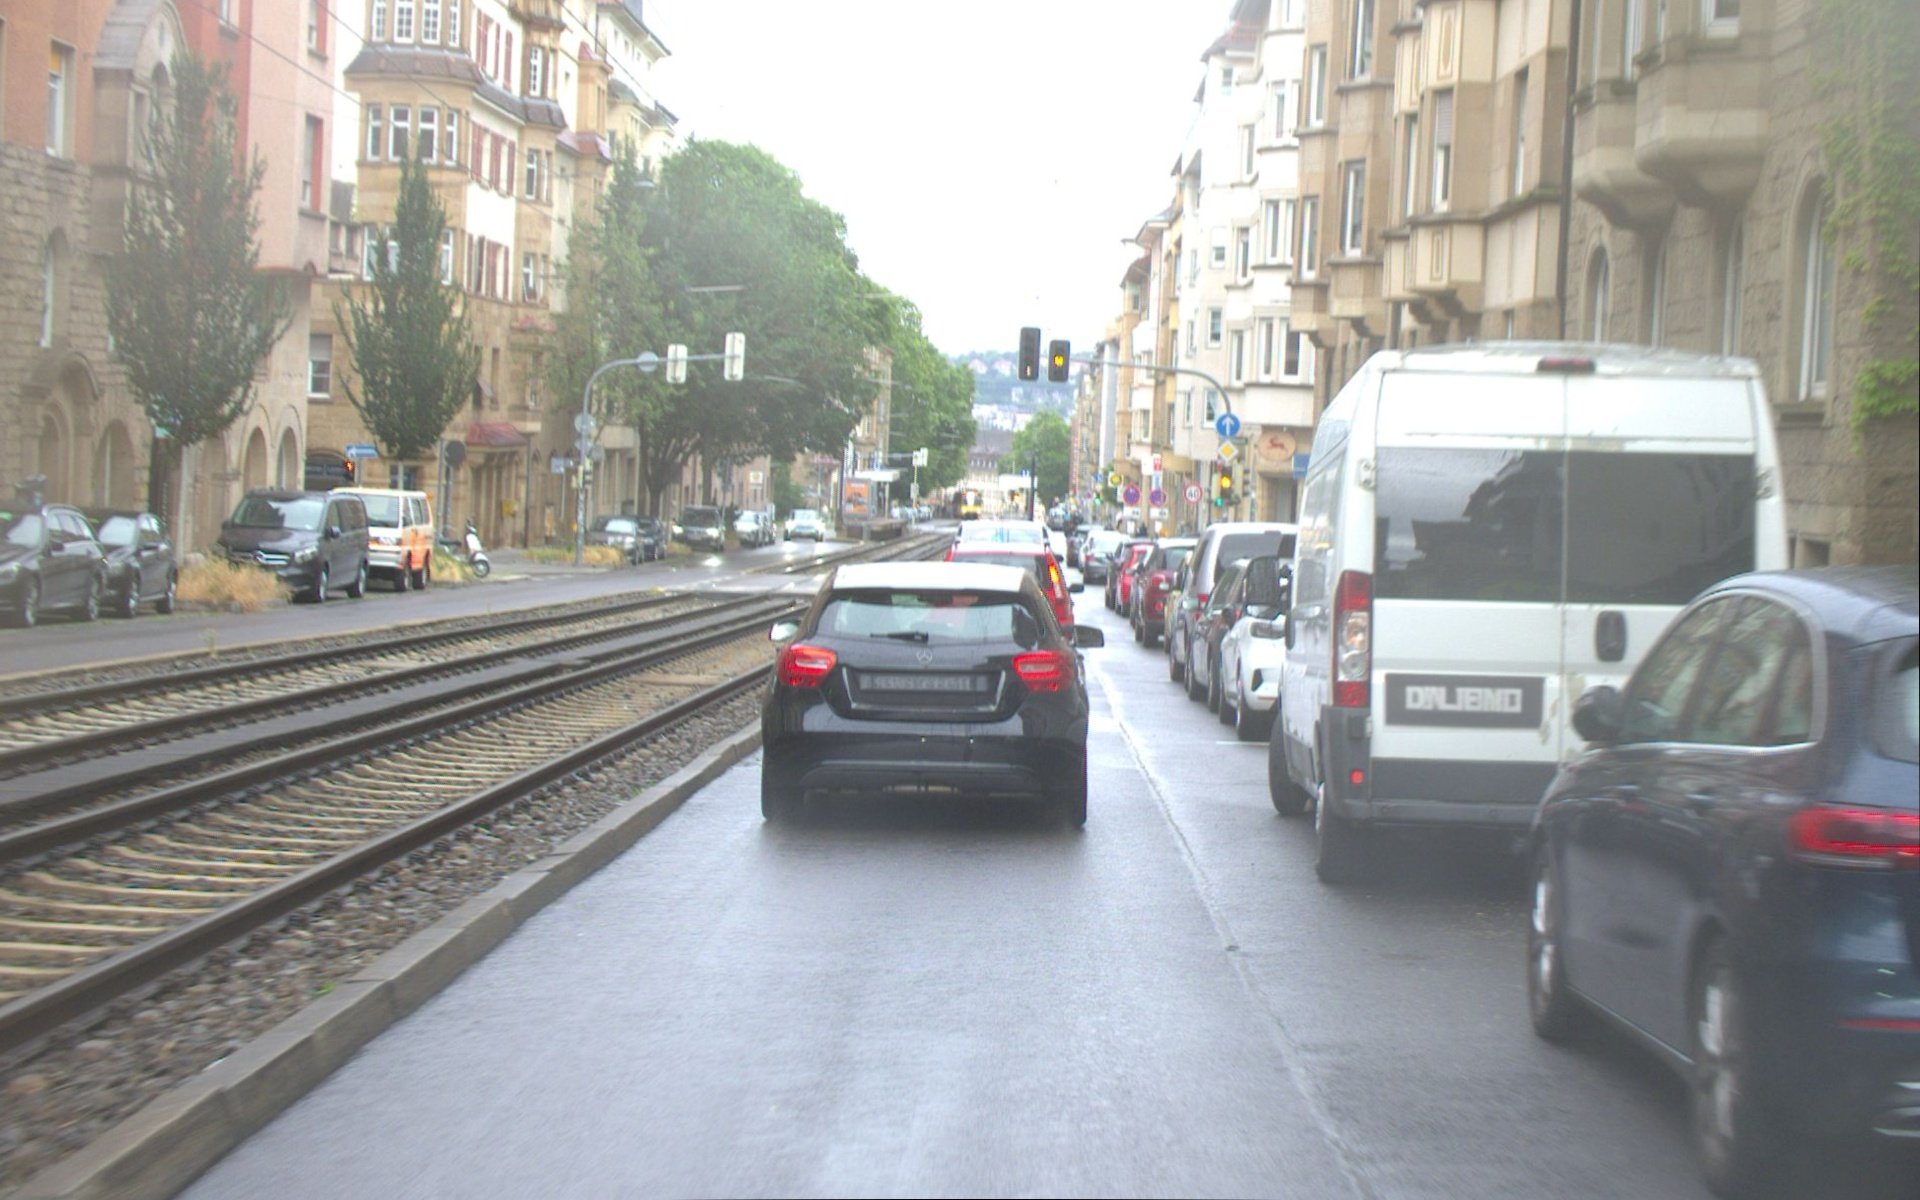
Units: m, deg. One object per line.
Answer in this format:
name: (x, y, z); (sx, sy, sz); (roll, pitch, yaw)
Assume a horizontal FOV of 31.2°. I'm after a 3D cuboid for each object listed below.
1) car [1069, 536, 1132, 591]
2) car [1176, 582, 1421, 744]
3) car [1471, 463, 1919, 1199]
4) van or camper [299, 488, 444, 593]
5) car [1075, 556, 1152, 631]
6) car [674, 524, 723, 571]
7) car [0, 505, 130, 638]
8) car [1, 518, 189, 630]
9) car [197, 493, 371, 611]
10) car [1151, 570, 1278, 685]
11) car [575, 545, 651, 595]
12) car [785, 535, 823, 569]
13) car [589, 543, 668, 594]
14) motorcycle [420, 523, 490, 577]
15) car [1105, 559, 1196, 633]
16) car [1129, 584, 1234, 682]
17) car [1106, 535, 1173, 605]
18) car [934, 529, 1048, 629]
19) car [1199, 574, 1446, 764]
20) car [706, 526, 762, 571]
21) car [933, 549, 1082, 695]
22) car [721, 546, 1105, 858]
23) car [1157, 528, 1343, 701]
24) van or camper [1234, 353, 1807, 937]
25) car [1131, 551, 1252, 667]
car: (4.825, -1.234, 118.230); (1.768, 1.770, 4.000); (2, 0, -2)
car: (3.267, 0.579, 33.897); (1.993, 1.436, 4.000); (2, 0, 0)
car: (2.657, 0.641, 9.652); (1.769, 1.802, 4.482); (3, 0, 1)
van or camper: (-11.477, -1.151, 67.360); (1.993, 1.895, 4.699); (3, 1, -1)
car: (3.372, -0.158, 75.861); (1.549, 1.503, 4.000); (4, 1, 2)
car: (-10.072, -2.021, 132.377); (1.789, 1.685, 4.001); (3, 0, -4)
car: (-11.992, -0.407, 42.454); (1.994, 1.504, 4.974); (5, 1, 2)
car: (-11.932, -0.371, 47.630); (1.642, 1.393, 3.884); (3, 1, -1)
car: (-11.634, -0.819, 59.466); (1.993, 1.895, 4.699); (2, 0, 0)
car: (3.585, 0.359, 48.839); (1.559, 1.473, 3.460); (4, 1, 2)
car: (-10.671, -0.910, 106.017); (1.771, 1.459, 4.000); (2, 0, 2)
car: (-7.851, -2.417, 172.986); (1.795, 1.543, 4.000); (4, 0, -2)
car: (-10.705, -1.013, 111.342); (1.993, 1.512, 4.000); (3, 1, 2)
motorcycle: (-11.416, -1.133, 77.768); (1.439, 1.130, 0.619); (3, 0, 31)
car: (3.870, -0.098, 70.250); (1.602, 1.414, 3.148); (3, 1, 0)
car: (3.863, 0.555, 60.422); (1.638, 1.537, 3.465); (4, 1, 2)
car: (5.567, -0.914, 106.966); (1.898, 2.021, 4.176); (2, -1, 2)
car: (0.539, -0.399, 62.111); (1.921, 1.649, 4.000); (3, 1, 0)
car: (3.038, 0.539, 29.517); (1.676, 1.406, 4.000); (3, 1, 1)
car: (-9.806, -2.226, 149.526); (1.994, 1.787, 4.000); (3, 1, 2)
car: (0.573, 0.235, 39.475); (1.536, 1.505, 4.000); (3, 0, 2)
car: (-0.241, 0.534, 19.758); (1.946, 1.559, 3.643); (2, 0, 0)
car: (3.204, 0.126, 38.726); (1.774, 1.770, 4.360); (2, 1, 1)
van or camper: (2.684, 0.192, 18.045); (2.064, 2.460, 6.118); (2, 0, 1)
car: (3.550, 0.114, 53.268); (1.711, 1.623, 4.000); (3, 1, 3)
